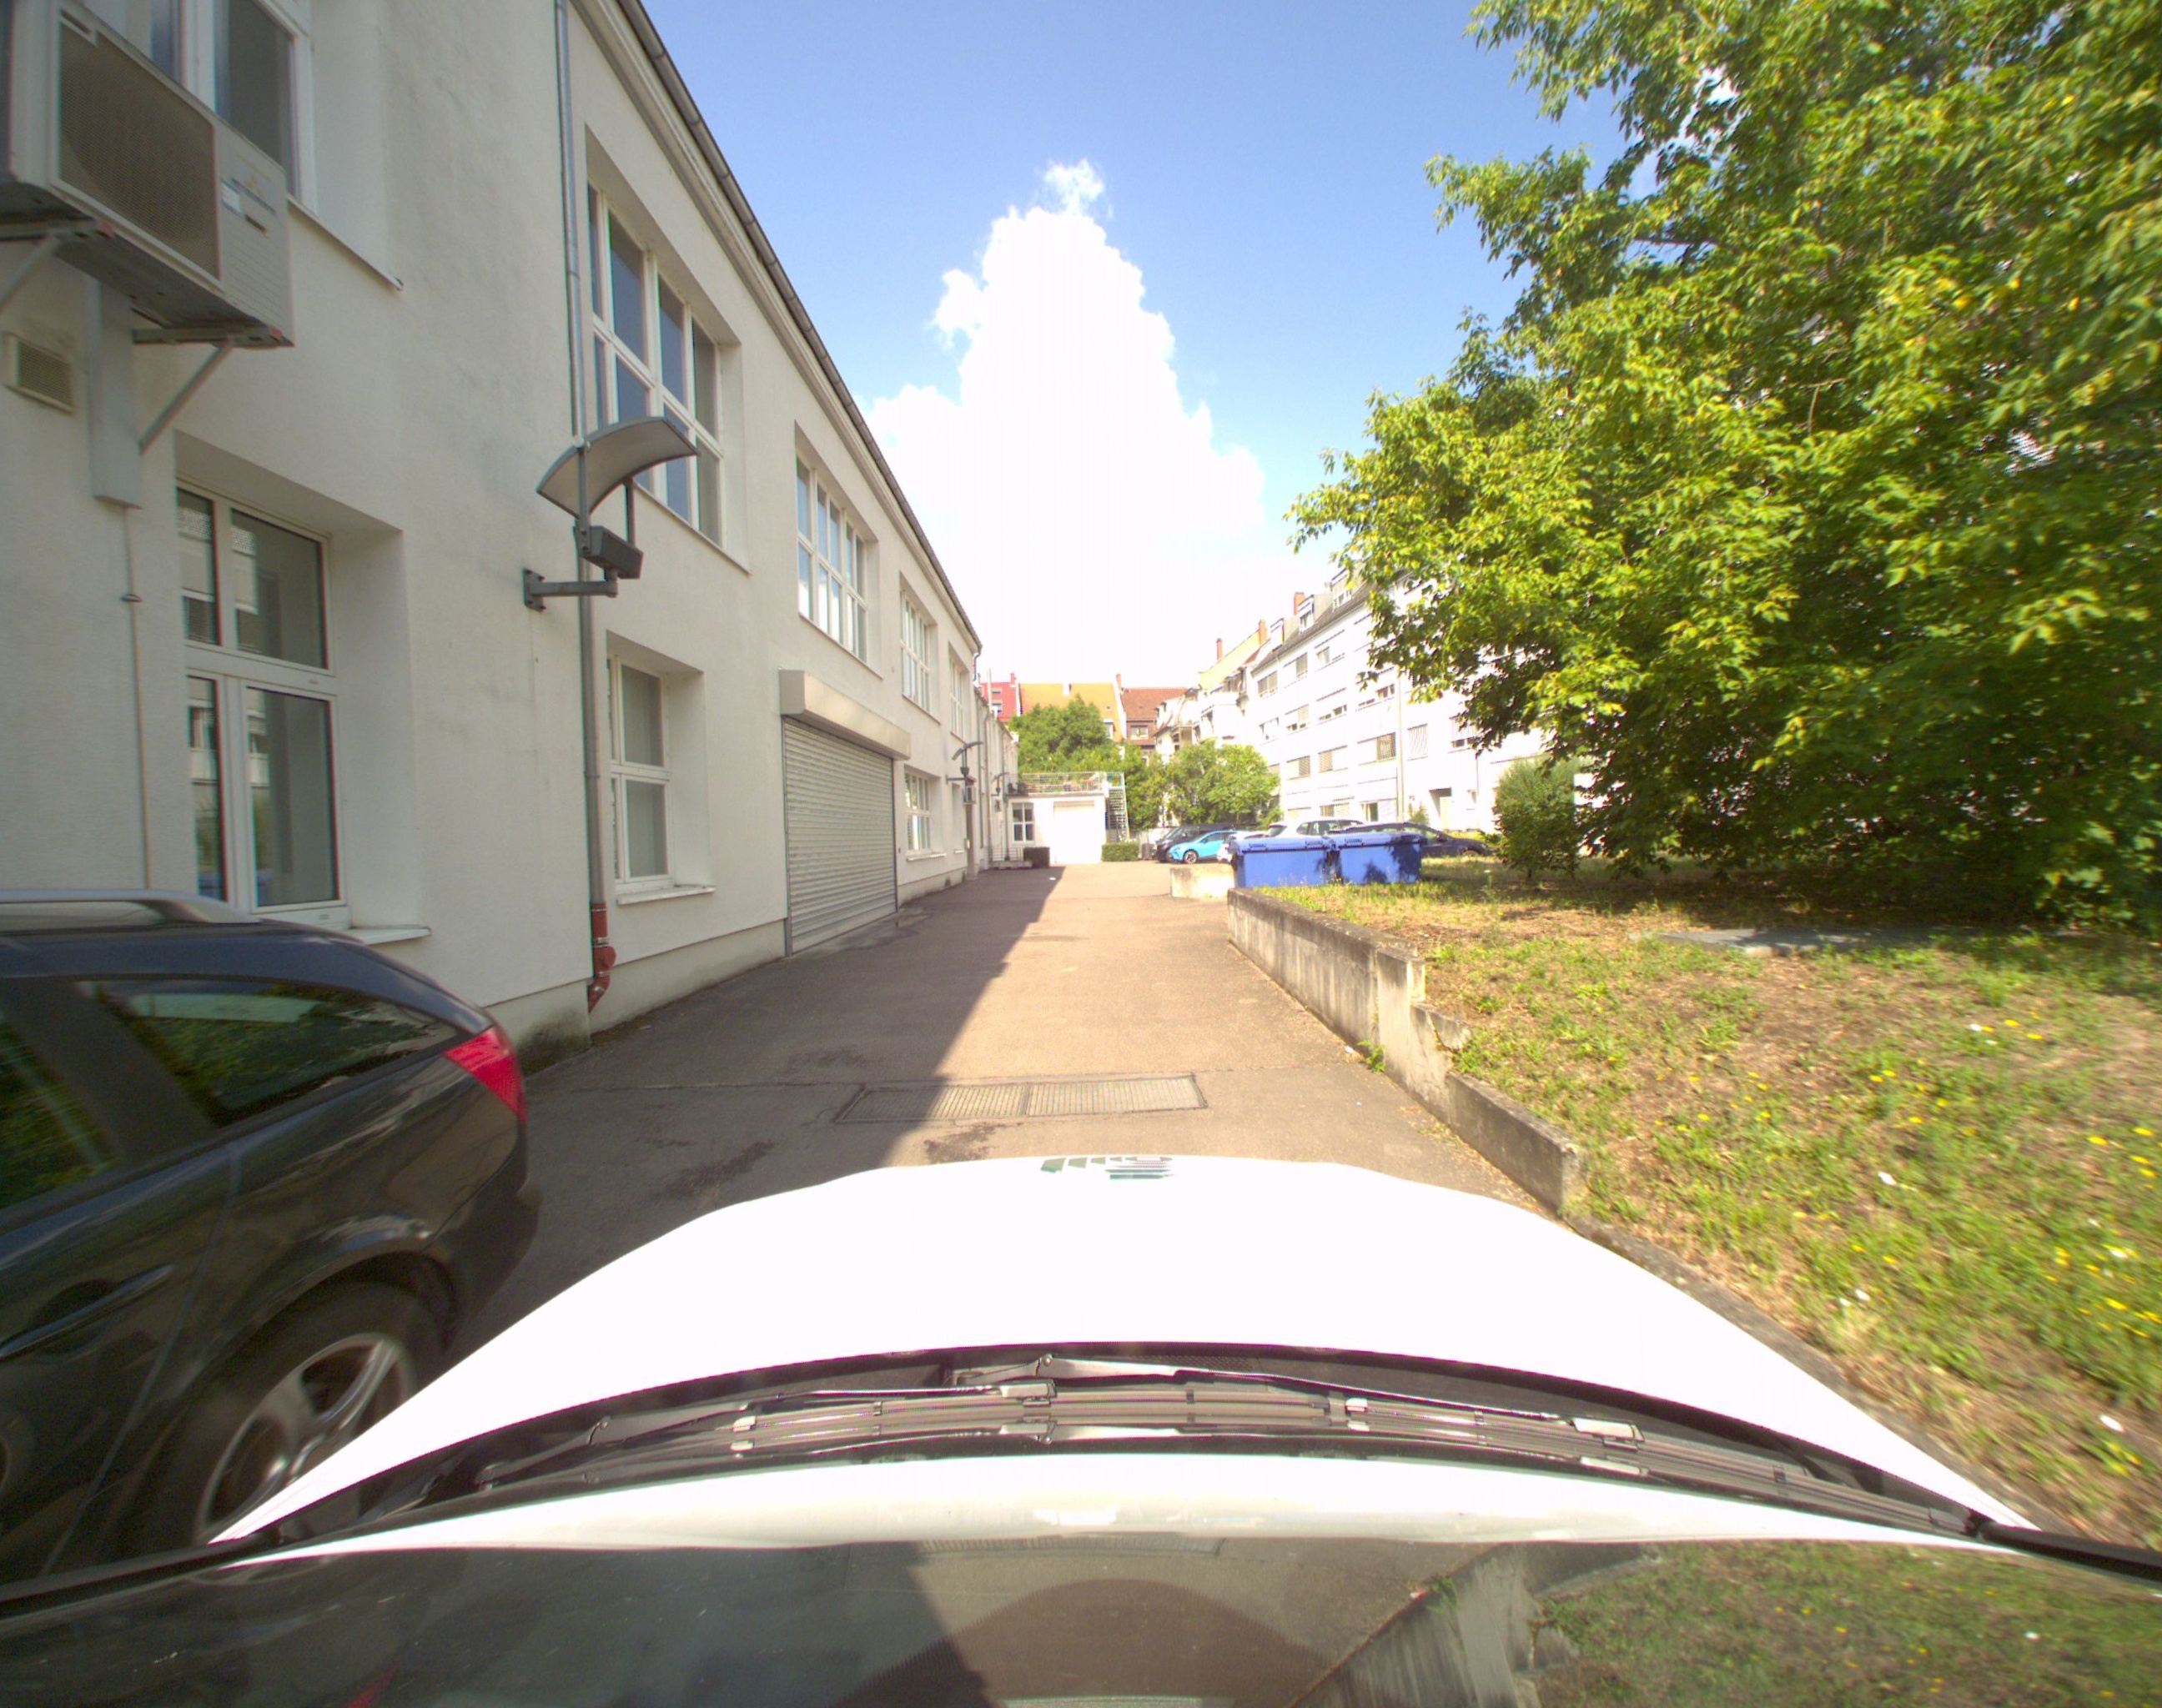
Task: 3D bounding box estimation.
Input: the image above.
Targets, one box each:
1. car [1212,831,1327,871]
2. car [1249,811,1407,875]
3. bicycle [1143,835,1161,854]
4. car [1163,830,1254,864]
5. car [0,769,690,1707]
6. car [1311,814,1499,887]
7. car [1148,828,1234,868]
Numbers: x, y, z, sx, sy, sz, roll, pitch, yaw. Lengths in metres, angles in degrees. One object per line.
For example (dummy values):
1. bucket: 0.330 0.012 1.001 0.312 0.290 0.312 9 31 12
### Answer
1. car: 7.193 -0.117 31.239 3.981 1.445 1.626 0 0 -6
2. car: 7.097 -0.289 23.615 3.981 1.746 1.945 1 -1 -6
3. bicycle: 4.456 -0.595 51.117 0.640 1.117 1.852 3 -2 -9
4. car: 5.992 -0.323 38.559 3.981 1.574 1.626 0 0 -6
5. car: -2.417 0.557 0.797 1.873 1.442 4.338 2 -4 0
6. car: 8.199 -0.049 20.773 4.107 1.606 1.751 3 -2 -6
7. car: 5.556 -0.270 41.324 3.981 1.817 1.660 3 -2 -6
